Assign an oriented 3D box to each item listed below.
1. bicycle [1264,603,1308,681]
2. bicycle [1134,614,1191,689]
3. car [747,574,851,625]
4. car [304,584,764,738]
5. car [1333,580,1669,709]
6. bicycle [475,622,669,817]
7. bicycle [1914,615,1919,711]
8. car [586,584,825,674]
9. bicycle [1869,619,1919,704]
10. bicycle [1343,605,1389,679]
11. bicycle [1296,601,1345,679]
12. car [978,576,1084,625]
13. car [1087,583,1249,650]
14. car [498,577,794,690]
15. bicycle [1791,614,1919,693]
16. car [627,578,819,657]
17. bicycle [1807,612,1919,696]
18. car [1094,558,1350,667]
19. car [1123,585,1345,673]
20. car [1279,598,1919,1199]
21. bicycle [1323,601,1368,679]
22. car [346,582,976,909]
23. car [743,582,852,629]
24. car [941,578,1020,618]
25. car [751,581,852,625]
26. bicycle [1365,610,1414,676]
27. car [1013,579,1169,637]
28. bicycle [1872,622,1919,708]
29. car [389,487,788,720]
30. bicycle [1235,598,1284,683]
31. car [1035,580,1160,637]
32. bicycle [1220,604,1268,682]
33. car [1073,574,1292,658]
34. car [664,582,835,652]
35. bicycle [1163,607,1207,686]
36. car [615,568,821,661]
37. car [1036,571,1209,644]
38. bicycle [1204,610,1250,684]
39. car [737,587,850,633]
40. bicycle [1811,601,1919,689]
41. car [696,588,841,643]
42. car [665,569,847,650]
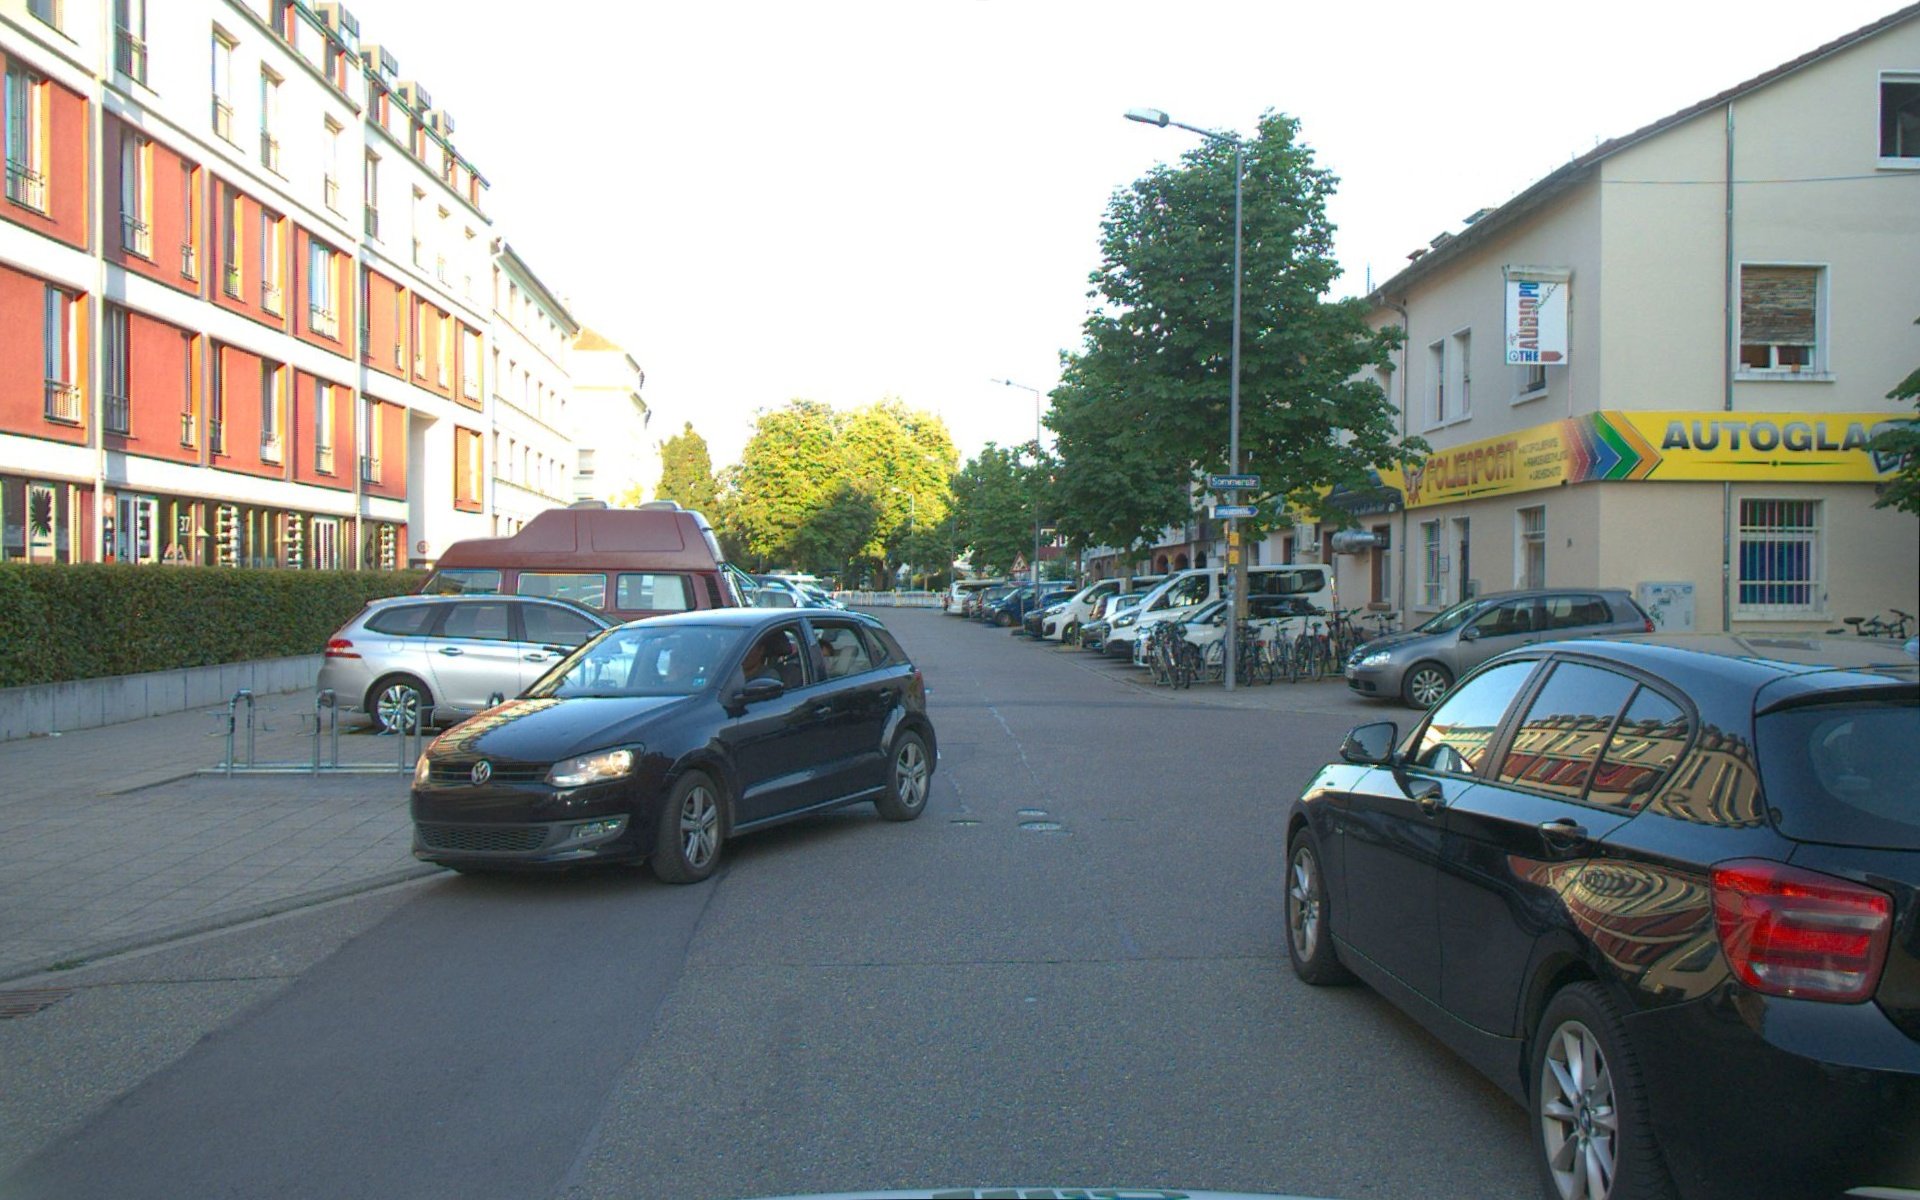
[{"bbox_3d":[5.354,0.676,27.236,0.378,1.221,1.481,-1,0,-1],"label":"bicycle"},{"bbox_3d":[3.304,0.820,27.120,0.430,1.150,2.014,-1,0,-7],"label":"bicycle"},{"bbox_3d":[-7.167,-0.028,73.892,4.442,2.171,1.999,1,0,-2],"label":"car"},{"bbox_3d":[-4.447,0.626,17.903,4.525,1.485,1.879,1,0,-5],"label":"car"},{"bbox_3d":[7.227,0.562,22.342,3.968,1.540,1.756,-1,2,-1],"label":"car"},{"bbox_3d":[-2.881,0.829,12.651,0.791,1.242,2.865,1,0,0],"label":"bicycle"},{"bbox_3d":[12.510,0.773,19.956,1.883,1.148,0.427,1,1,-10],"label":"bicycle"},{"bbox_3d":[-4.651,0.518,30.653,4.124,1.516,1.849,1,0,-1],"label":"car"},{"bbox_3d":[12.503,0.793,21.125,1.569,1.059,0.343,1,2,-1],"label":"bicycle"},{"bbox_3d":[6.693,0.676,27.313,0.346,1.163,1.481,-1,0,-1],"label":"bicycle"},{"bbox_3d":[5.920,0.637,27.220,0.436,1.221,1.481,-1,0,-1],"label":"bicycle"},{"bbox_3d":[3.073,0.021,72.048,4.393,1.945,1.685,-2,0,-7],"label":"car"},{"bbox_3d":[5.270,0.405,42.285,3.832,1.552,1.939,-2,0,-1],"label":"car"},{"bbox_3d":[-4.787,0.487,25.606,4.120,1.565,1.843,2,0,4],"label":"car"},{"bbox_3d":[12.273,0.731,22.682,1.570,1.037,0.343,1,2,-3],"label":"bicycle"},{"bbox_3d":[-5.459,0.385,38.523,4.171,1.689,1.999,1,0,-2],"label":"car"},{"bbox_3d":[12.380,0.726,22.336,1.696,1.088,0.343,1,2,-3],"label":"bicycle"},{"bbox_3d":[5.356,0.250,34.308,4.889,2.018,2.219,-2,0,-1],"label":"car"},{"bbox_3d":[5.170,0.528,31.517,3.841,1.476,1.767,-2,1,-4],"label":"car"},{"bbox_3d":[2.292,0.755,5.012,1.687,1.449,4.252,1,0,-2],"label":"car"},{"bbox_3d":[6.341,0.640,27.222,0.346,1.221,1.481,-1,0,-1],"label":"bicycle"},{"bbox_3d":[-1.542,0.703,9.963,1.620,1.480,3.937,-3,0,27],"label":"car"},{"bbox_3d":[-6.512,0.205,66.503,4.171,1.744,1.999,1,0,-2],"label":"car"},{"bbox_3d":[1.068,-0.129,87.373,3.892,1.945,2.046,-2,0,-7],"label":"car"},{"bbox_3d":[-6.803,0.122,71.266,4.171,1.780,1.999,1,0,-2],"label":"car"},{"bbox_3d":[7.089,0.695,27.370,0.380,1.035,1.481,-1,0,-1],"label":"bicycle"},{"bbox_3d":[4.275,0.253,54.382,4.846,1.718,2.076,-2,0,-3],"label":"car"},{"bbox_3d":[12.395,0.825,20.595,1.812,1.027,0.428,1,2,-1],"label":"bicycle"},{"bbox_3d":[-4.483,0.034,20.478,4.419,2.629,2.000,1,0,0],"label":"car"},{"bbox_3d":[4.937,0.639,27.381,0.378,1.327,2.017,-1,0,-1],"label":"bicycle"},{"bbox_3d":[4.905,0.292,59.312,4.231,1.835,1.810,-2,0,-3],"label":"car"},{"bbox_3d":[4.681,0.689,27.364,0.378,1.221,2.017,-1,0,-1],"label":"bicycle"},{"bbox_3d":[5.199,0.368,39.116,4.844,1.772,2.049,-2,0,-1],"label":"car"},{"bbox_3d":[-5.407,0.428,42.881,4.171,1.681,1.887,1,0,-2],"label":"car"},{"bbox_3d":[3.707,0.740,27.317,0.378,1.221,2.017,-1,0,-1],"label":"bicycle"},{"bbox_3d":[-5.207,0.295,36.057,4.171,1.868,1.999,1,0,-2],"label":"car"},{"bbox_3d":[4.825,0.214,49.619,4.846,1.992,2.048,-2,0,-3],"label":"car"},{"bbox_3d":[4.402,0.757,27.370,0.378,1.133,2.017,-1,0,-1],"label":"bicycle"},{"bbox_3d":[-6.371,0.383,63.765,4.171,1.650,1.999,1,0,-3],"label":"car"},{"bbox_3d":[12.969,0.634,23.225,1.822,1.169,0.343,1,2,-1],"label":"bicycle"},{"bbox_3d":[-5.746,0.458,50.116,4.171,1.531,1.999,1,0,-2],"label":"car"},{"bbox_3d":[-5.551,0.241,45.432,4.753,2.056,1.906,1,0,-2],"label":"car"}]
